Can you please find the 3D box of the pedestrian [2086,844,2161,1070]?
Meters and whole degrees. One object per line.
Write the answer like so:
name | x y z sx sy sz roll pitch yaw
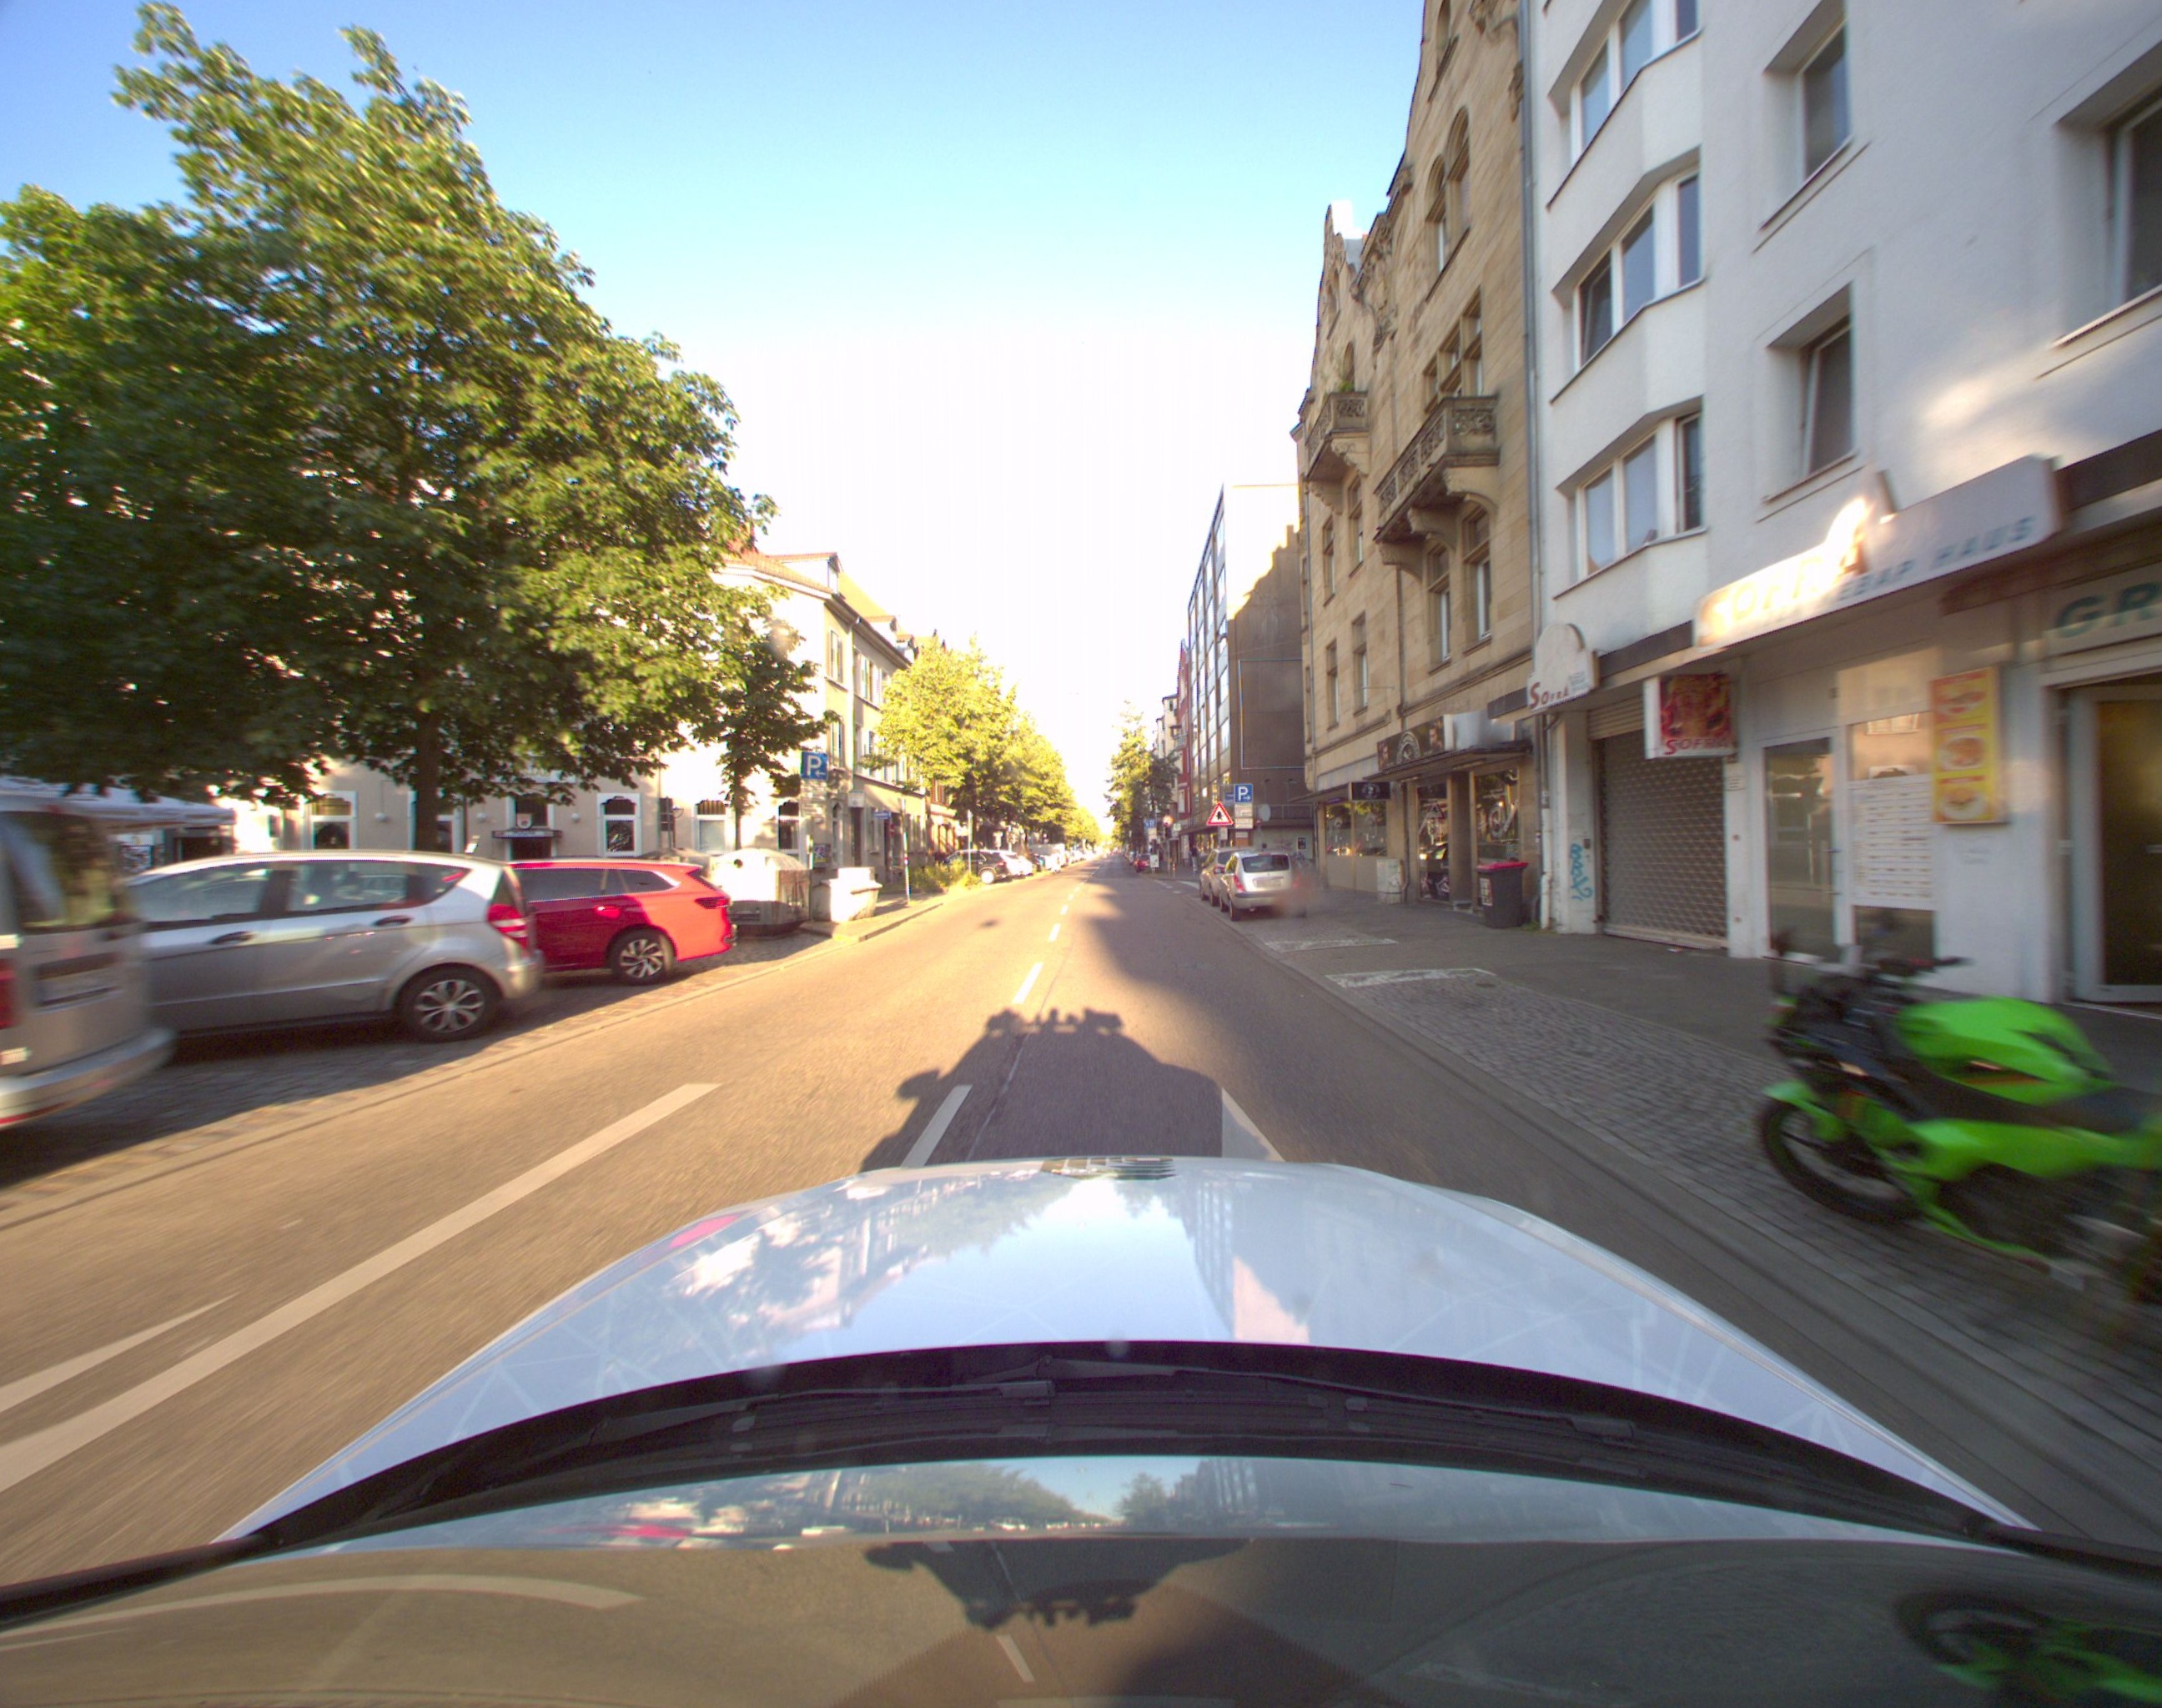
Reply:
pedestrian | 6.464 0.563 4.605 0.734 1.219 0.796 -3 1 32

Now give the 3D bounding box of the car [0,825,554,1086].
car | -6.665 0.659 6.585 4.015 1.696 1.731 0 0 -34

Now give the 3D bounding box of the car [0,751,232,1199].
car | -6.490 0.519 3.213 4.016 1.878 1.851 -1 1 -34

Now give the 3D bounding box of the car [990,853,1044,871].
car | -5.481 0.706 70.240 4.410 1.503 2.001 0 0 1

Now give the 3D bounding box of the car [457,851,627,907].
car | -17.861 0.780 27.279 4.438 1.677 1.945 -1 1 -24

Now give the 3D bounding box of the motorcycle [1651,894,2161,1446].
motorcycle | 2.906 0.815 2.619 0.586 1.200 2.211 -4 0 2

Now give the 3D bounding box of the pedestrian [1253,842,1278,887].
pedestrian | 7.437 0.398 32.875 0.752 1.767 1.223 0 0 1

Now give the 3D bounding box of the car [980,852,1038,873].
car | -5.760 0.673 65.301 4.410 1.599 2.001 0 0 1

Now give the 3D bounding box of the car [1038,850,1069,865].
car | -3.373 0.457 99.866 3.726 1.859 2.001 0 0 1

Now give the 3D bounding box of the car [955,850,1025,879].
car | -5.487 0.623 49.584 3.975 1.708 1.834 0 0 1

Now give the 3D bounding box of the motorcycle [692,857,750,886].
motorcycle | -13.263 0.643 29.988 2.073 1.031 0.751 0 0 23

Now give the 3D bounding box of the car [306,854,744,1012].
car | -6.406 0.788 9.939 4.012 1.485 1.981 -1 0 -30

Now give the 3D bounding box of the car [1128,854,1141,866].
car | 5.931 0.700 90.672 1.202 1.300 2.660 0 -1 0

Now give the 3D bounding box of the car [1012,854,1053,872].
car | -4.615 0.884 77.822 3.726 1.596 2.000 -1 -2 1

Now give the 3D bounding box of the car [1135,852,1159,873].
car | 5.314 0.678 66.064 1.572 1.542 3.396 -3 -1 0

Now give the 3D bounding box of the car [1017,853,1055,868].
car | -4.567 0.665 82.845 3.725 1.449 2.001 0 0 1

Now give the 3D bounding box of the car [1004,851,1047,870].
car | -5.099 0.591 75.058 3.726 1.642 2.001 0 0 1

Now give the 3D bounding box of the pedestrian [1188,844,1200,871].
pedestrian | 7.912 0.232 57.002 0.712 1.865 0.680 -1 0 -1

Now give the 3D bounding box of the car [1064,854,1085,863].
car | -1.115 0.821 147.265 3.726 1.708 2.001 0 0 1

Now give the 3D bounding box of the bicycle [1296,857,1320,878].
bicycle | 11.789 0.680 42.314 0.415 1.030 1.681 -1 1 -16

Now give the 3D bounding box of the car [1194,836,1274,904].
car | 4.397 0.408 23.945 1.690 1.769 4.002 -2 1 2

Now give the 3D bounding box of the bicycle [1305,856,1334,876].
bicycle | 12.640 0.620 43.225 0.416 1.037 1.761 -2 1 -24

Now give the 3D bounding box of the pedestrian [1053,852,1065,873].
pedestrian | -1.819 0.703 66.594 0.727 1.683 0.749 0 1 -38

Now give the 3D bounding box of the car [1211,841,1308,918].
car | 4.131 0.525 19.366 1.672 1.561 4.005 -3 0 5

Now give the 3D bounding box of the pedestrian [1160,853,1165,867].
pedestrian | 9.148 0.663 91.047 0.531 1.622 0.534 0 0 2

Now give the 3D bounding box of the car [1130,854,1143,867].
car | 5.964 0.695 87.838 1.202 1.300 2.660 0 -1 0

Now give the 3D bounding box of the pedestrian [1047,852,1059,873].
pedestrian | -2.262 0.667 65.389 0.720 1.673 0.702 0 0 -38

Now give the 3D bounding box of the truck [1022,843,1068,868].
truck | -3.947 0.168 89.202 4.922 2.615 2.001 0 0 1

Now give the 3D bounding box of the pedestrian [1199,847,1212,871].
pedestrian | 8.717 0.331 57.059 0.762 1.689 0.786 -1 0 0

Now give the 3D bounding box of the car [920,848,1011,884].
car | -6.050 0.611 42.872 4.432 1.835 2.034 0 -1 1

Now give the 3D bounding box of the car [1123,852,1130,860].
car | 9.464 0.497 169.840 1.305 1.600 2.660 0 -1 0

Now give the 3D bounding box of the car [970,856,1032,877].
car | -5.636 0.884 57.843 4.159 1.507 2.001 0 0 1

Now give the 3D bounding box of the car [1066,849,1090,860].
car | -0.433 0.123 129.381 3.726 1.708 2.001 0 0 1

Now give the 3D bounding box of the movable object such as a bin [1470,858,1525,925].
movable object such as a bin | 6.896 0.612 13.513 0.593 1.084 0.664 0 0 3

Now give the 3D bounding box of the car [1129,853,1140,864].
car | 6.437 0.505 98.217 1.202 1.300 2.660 0 -1 0

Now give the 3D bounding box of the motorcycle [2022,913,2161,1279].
motorcycle | 3.687 0.791 1.857 0.586 1.123 2.211 -1 1 2
